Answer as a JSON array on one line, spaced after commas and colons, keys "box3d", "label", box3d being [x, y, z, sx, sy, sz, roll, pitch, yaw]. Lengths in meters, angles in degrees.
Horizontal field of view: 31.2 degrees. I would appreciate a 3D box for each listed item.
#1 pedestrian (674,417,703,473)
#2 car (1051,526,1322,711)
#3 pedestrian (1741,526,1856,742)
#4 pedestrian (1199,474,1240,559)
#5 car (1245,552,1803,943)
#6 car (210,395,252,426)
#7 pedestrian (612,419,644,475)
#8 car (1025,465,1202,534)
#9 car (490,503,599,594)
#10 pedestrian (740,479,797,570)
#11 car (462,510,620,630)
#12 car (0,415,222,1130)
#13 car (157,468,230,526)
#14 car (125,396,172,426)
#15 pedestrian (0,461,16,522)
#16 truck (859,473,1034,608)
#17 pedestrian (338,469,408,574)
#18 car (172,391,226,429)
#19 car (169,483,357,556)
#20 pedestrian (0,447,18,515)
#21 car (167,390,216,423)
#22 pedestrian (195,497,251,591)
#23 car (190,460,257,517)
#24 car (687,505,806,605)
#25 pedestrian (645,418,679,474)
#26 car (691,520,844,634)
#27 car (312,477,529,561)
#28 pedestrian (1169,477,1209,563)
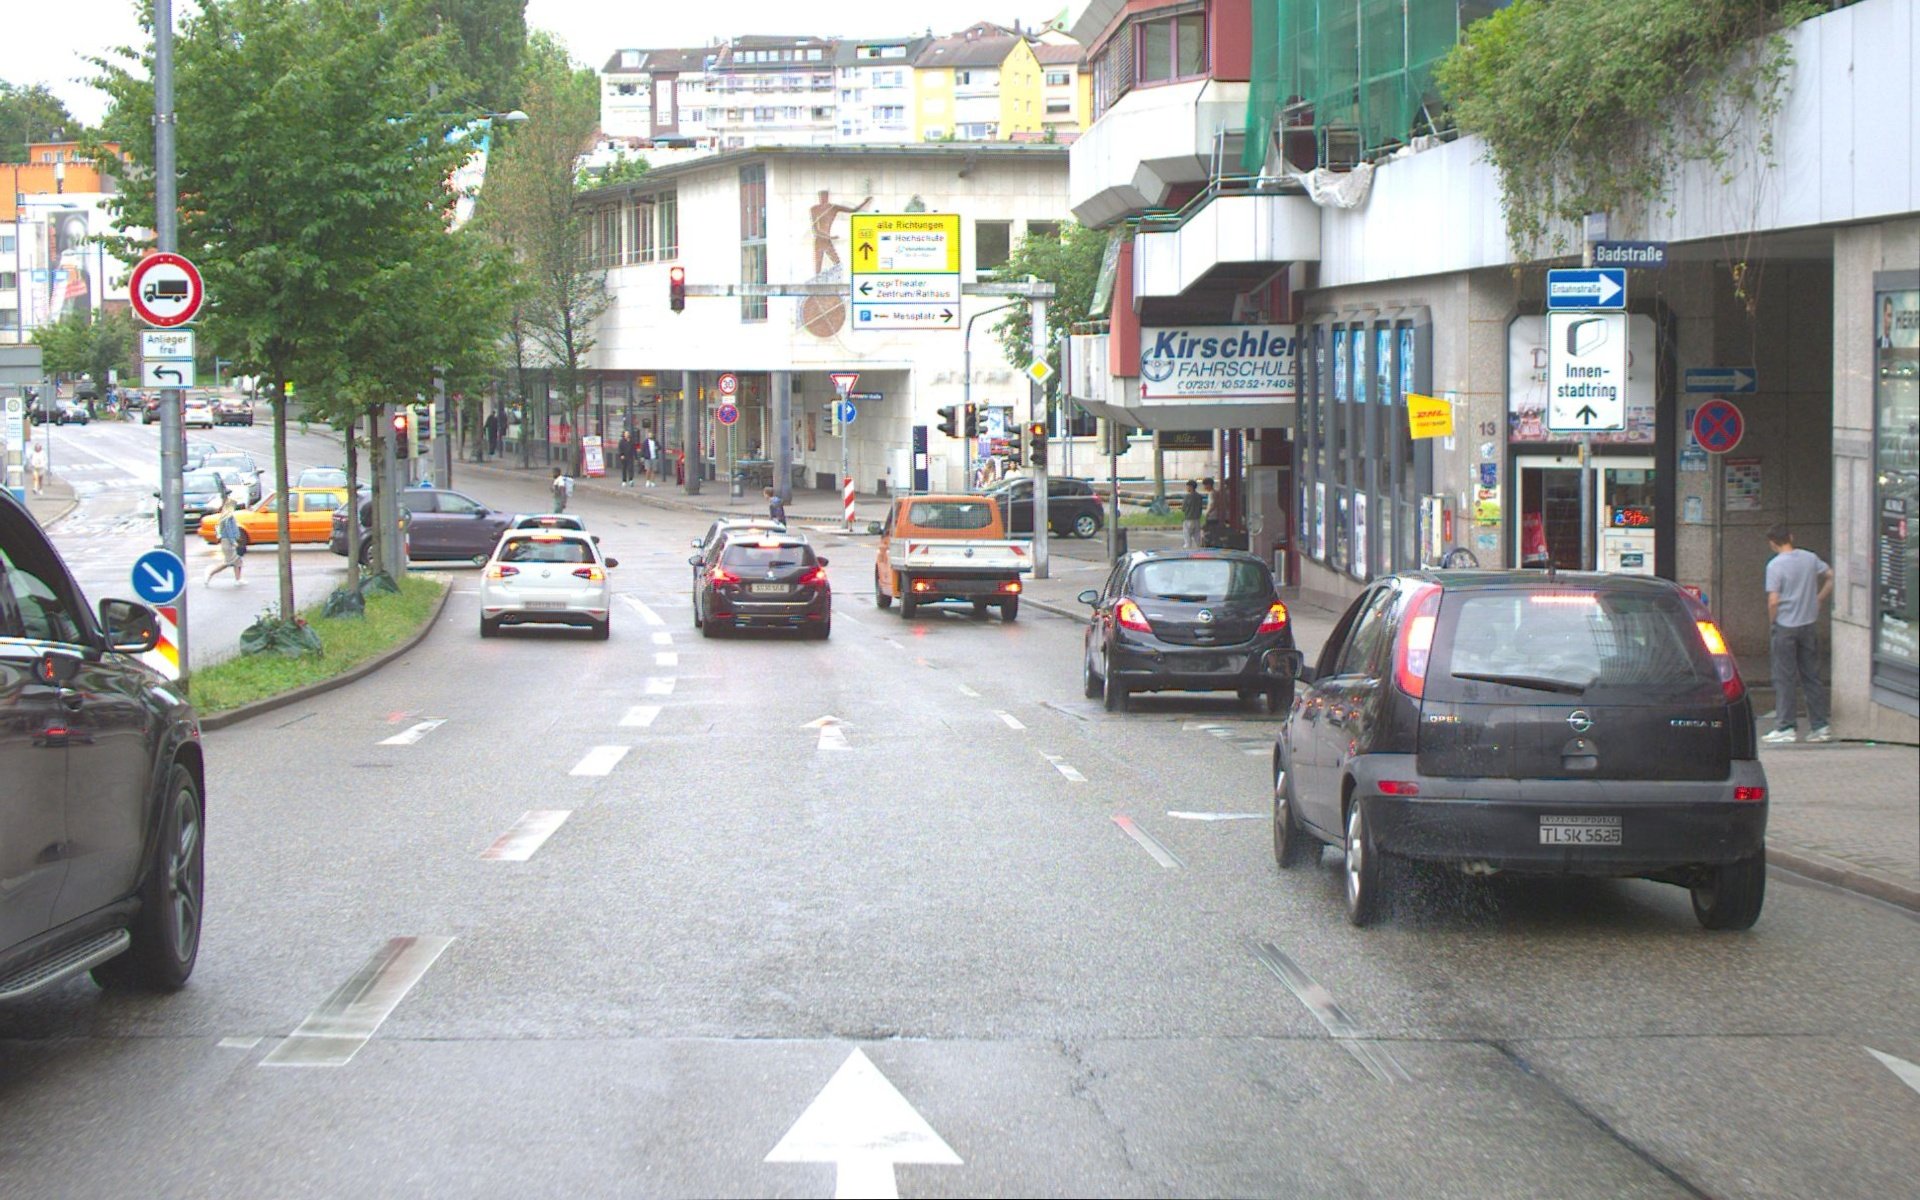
[{"box3d": [-8.966, -5.105, 113.366, 0.702, 1.796, 0.939, -2, 2, -18], "label": "pedestrian"}, {"box3d": [2.022, 0.115, 31.824, 1.949, 1.568, 4.001, 0, 2, -4], "label": "car"}, {"box3d": [6.503, 0.260, 26.656, 0.642, 1.644, 0.561, -2, 1, 38], "label": "pedestrian"}, {"box3d": [5.206, -1.673, 68.954, 0.575, 1.694, 0.651, -2, 1, -18], "label": "pedestrian"}, {"box3d": [2.272, 0.527, 14.772, 1.717, 1.415, 3.770, 1, 1, -1], "label": "car"}, {"box3d": [-39.532, -10.273, 186.440, 1.831, 1.583, 3.875, -1, 2, -18], "label": "car"}, {"box3d": [-10.961, -5.047, 113.465, 0.798, 1.796, 0.918, -2, 2, -18], "label": "pedestrian"}, {"box3d": [3.641, -2.382, 81.518, 3.815, 1.611, 1.775, -1, 1, -19], "label": "car"}, {"box3d": [-7.116, -0.909, 58.915, 1.794, 1.463, 4.001, 0, 2, -7], "label": "car"}, {"box3d": [-3.704, -1.468, 66.543, 1.010, 1.716, 0.838, -1, 2, 1], "label": "pedestrian"}, {"box3d": [-5.735, -0.453, 47.461, 1.949, 1.568, 4.001, 0, 2, -4], "label": "car"}, {"box3d": [-3.493, 0.388, 9.440, 2.087, 1.810, 4.793, 2, 2, -3], "label": "car"}, {"box3d": [-19.504, -2.624, 87.591, 1.706, 1.446, 3.863, 0, 2, -11], "label": "car"}, {"box3d": [-45.213, -10.530, 191.491, 1.748, 1.549, 3.570, -1, 2, -27], "label": "car"}, {"box3d": [-25.379, -2.845, 90.306, 0.924, 1.602, 0.563, -3, 2, -44], "label": "pedestrian"}, {"box3d": [-0.284, -1.001, 55.677, 2.183, 2.075, 5.605, 0, 2, -7], "label": "truck"}, {"box3d": [-10.692, -1.433, 62.668, 1.063, 1.875, 0.838, -1, 2, 3], "label": "pedestrian"}, {"box3d": [-42.788, -10.683, 193.255, 1.993, 2.006, 4.001, -1, 2, -27], "label": "car"}, {"box3d": [-15.616, -1.797, 76.961, 3.995, 1.611, 1.776, 0, 1, -15], "label": "car"}, {"box3d": [-25.735, -3.173, 91.786, 0.903, 1.796, 0.627, -3, 2, -44], "label": "pedestrian"}, {"box3d": [-39.847, -10.023, 178.106, 1.993, 1.590, 4.001, -1, 2, -20], "label": "car"}, {"box3d": [-13.695, -1.051, 63.861, 0.835, 1.716, 0.819, -1, 2, -2], "label": "pedestrian"}, {"box3d": [-20.408, -3.084, 95.190, 1.777, 1.544, 4.001, 0, 2, -13], "label": "car"}, {"box3d": [-3.586, -0.776, 57.226, 1.760, 1.537, 4.001, 0, 3, -7], "label": "car"}, {"box3d": [-9.779, -5.052, 112.950, 0.846, 1.796, 1.056, -2, 2, -18], "label": "pedestrian"}, {"box3d": [-2.768, -0.355, 48.774, 1.811, 1.436, 4.001, 1, 2, -8], "label": "car"}, {"box3d": [-10.961, -1.645, 69.776, 4.147, 1.652, 1.842, 0, 1, -16], "label": "car"}, {"box3d": [4.572, -1.607, 68.674, 0.575, 1.694, 0.651, -2, 1, -14], "label": "pedestrian"}]
